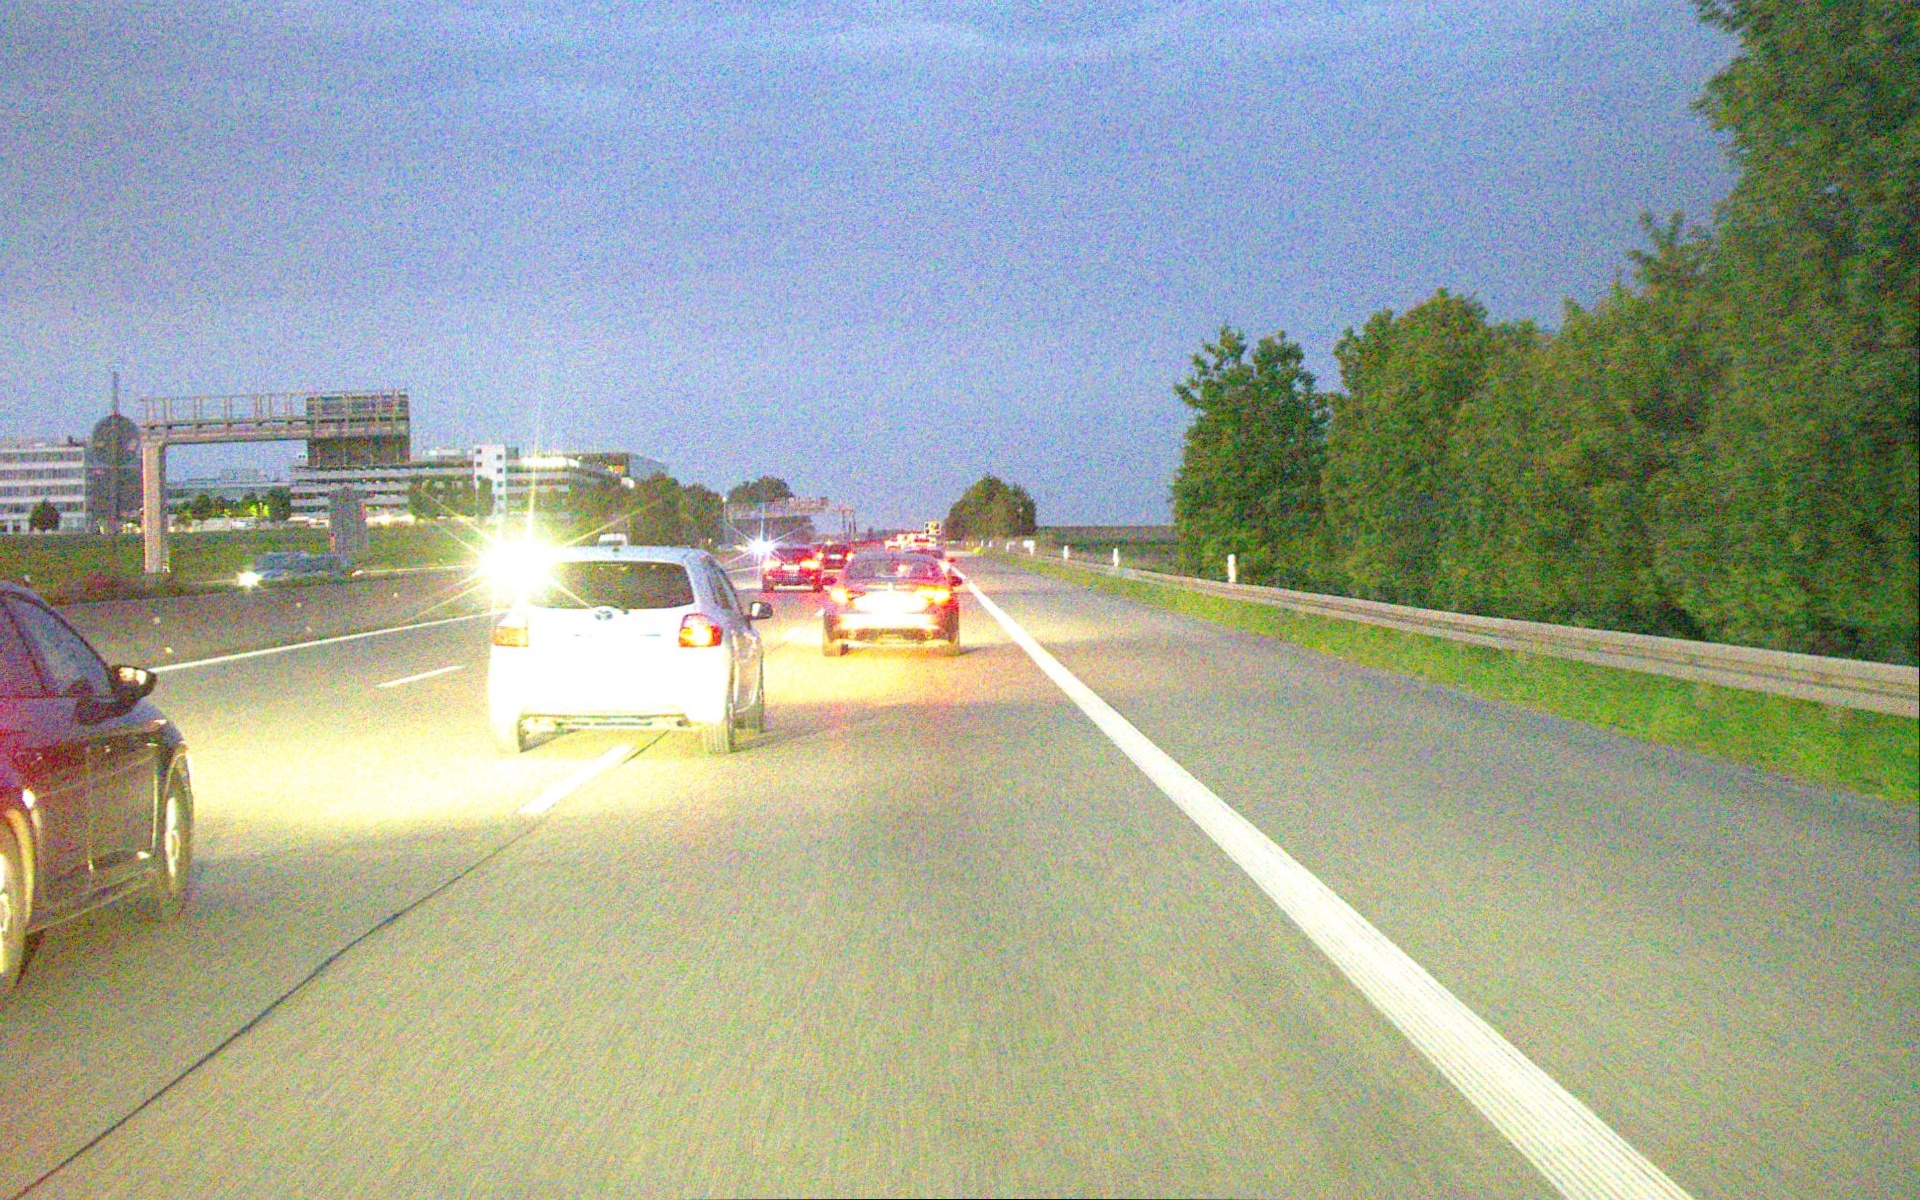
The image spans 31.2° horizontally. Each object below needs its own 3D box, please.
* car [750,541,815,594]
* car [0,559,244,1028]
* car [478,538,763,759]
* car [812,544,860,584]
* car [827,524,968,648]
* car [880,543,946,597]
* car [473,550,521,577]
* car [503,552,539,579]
[{"bbox_3d":[-5.400,-0.989,105.001,1.880,1.547,4.000,1,0,-1],"label":"car"},{"bbox_3d":[-3.888,0.584,12.335,1.722,1.466,4.726,1,0,-1],"label":"car"},{"bbox_3d":[-2.497,0.324,26.221,1.744,1.519,4.414,1,0,0],"label":"car"},{"bbox_3d":[-5.902,-1.707,164.349,2.199,1.873,4.000,1,0,-1],"label":"car"},{"bbox_3d":[-0.868,-0.207,48.042,1.880,1.637,4.000,1,0,-1],"label":"car"},{"bbox_3d":[-1.410,-0.883,100.965,1.880,1.547,4.000,1,0,-1],"label":"car"},{"bbox_3d":[-26.494,-2.062,196.742,1.993,1.516,5.836,1,0,-1],"label":"car"},{"bbox_3d":[-21.412,-1.677,167.819,1.363,1.257,3.507,1,0,-1],"label":"car"}]
